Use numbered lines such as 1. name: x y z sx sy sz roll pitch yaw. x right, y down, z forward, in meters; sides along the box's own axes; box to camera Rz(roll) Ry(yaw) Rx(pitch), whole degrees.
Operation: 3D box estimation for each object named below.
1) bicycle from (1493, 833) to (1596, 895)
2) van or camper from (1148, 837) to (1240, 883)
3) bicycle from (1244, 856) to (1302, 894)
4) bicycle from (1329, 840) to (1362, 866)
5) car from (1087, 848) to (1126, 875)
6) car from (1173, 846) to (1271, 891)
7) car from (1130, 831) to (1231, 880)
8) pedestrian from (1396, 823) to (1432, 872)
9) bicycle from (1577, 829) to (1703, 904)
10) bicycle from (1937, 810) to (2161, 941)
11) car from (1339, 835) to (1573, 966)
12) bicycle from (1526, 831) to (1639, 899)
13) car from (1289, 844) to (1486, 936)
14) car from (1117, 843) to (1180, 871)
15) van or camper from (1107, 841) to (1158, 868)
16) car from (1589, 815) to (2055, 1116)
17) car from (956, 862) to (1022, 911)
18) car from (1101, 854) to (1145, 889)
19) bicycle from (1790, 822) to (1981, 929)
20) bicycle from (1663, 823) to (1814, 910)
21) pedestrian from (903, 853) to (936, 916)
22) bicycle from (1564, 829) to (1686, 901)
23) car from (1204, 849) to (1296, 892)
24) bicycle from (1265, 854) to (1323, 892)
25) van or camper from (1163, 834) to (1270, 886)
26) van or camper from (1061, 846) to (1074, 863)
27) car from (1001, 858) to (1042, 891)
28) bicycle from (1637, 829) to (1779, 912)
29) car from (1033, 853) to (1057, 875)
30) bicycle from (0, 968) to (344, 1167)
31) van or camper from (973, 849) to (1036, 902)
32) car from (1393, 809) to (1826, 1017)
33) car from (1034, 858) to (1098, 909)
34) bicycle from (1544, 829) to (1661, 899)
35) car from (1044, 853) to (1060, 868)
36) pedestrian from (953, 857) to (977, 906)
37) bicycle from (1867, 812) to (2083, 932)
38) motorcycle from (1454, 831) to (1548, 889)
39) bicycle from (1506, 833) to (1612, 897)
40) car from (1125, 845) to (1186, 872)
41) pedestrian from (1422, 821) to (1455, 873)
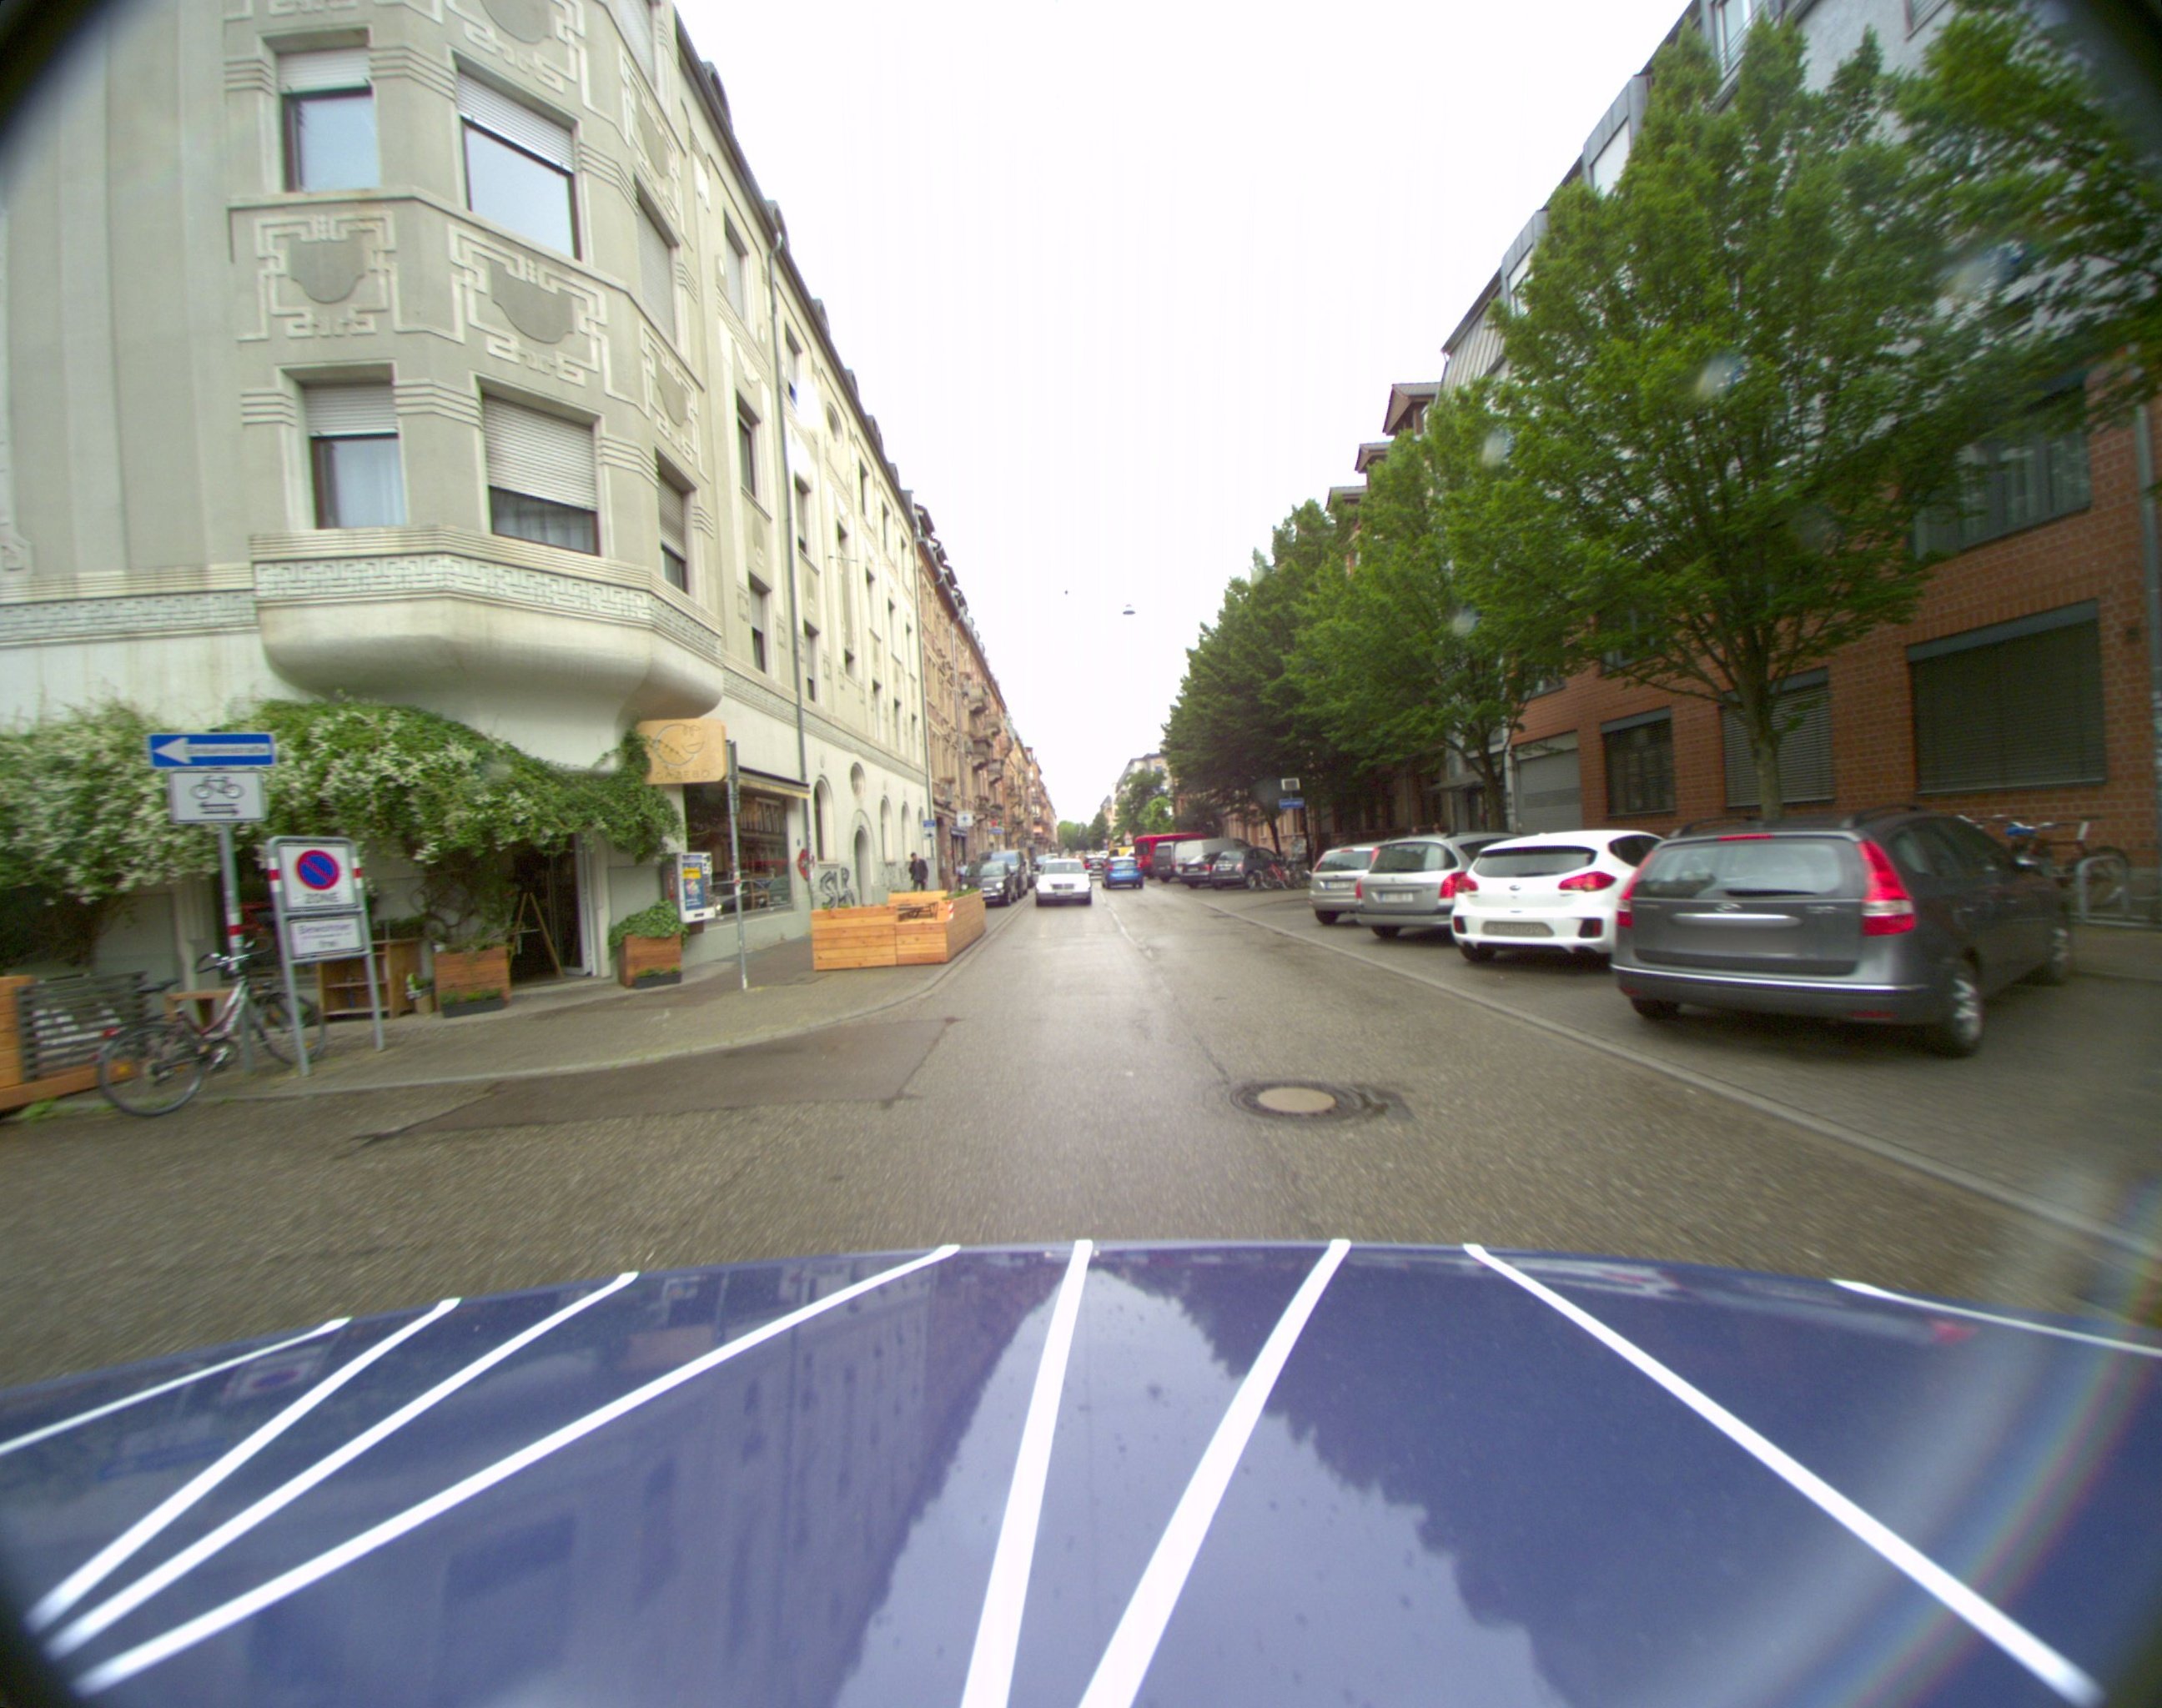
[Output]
1. bicycle: 10.496 0.222 17.232 1.901 1.145 0.553 -8 1 -3
2. van or camper: 5.775 0.280 38.705 4.454 1.964 1.777 -5 1 -33
3. bicycle: 6.328 0.703 25.149 0.751 1.151 2.218 -4 -1 -16
4. bicycle: 12.833 -0.044 36.984 0.669 1.186 2.412 -7 0 1
5. car: 1.730 0.448 49.655 1.672 1.550 4.007 -3 0 14
6. car: 5.831 0.581 31.217 3.985 1.438 1.763 -5 1 -40
7. car: 5.944 0.083 45.163 5.580 2.526 2.225 -4 0 -28
8. pedestrian: 10.714 -0.213 24.460 0.690 1.488 0.587 -7 1 -5
9. bicycle: 10.516 0.228 14.313 1.901 1.145 0.553 -8 1 -3
10. bicycle: 10.715 0.226 8.373 1.901 1.145 0.553 -8 1 -3
11. car: 5.733 0.601 11.535 3.392 1.644 1.630 -2 0 -33
12. bicycle: 10.464 0.223 15.878 1.901 1.145 0.553 -8 1 -3
13. car: 5.859 0.605 14.416 3.720 1.443 1.681 -2 0 -35
14. car: 6.045 0.252 67.648 5.258 2.066 1.866 -4 1 -25
15. van or camper: 5.328 0.064 78.854 4.733 2.254 2.180 -6 0 -33
16. car: 5.654 0.589 5.743 3.391 1.533 1.677 -4 1 -31
17. car: -2.966 1.030 25.194 1.714 1.392 3.704 -2 0 -1
18. car: 1.877 0.757 35.363 1.674 1.457 4.002 -3 0 -1
19. bicycle: 10.642 0.276 10.075 1.901 1.145 0.553 -8 1 -3
20. bicycle: 10.642 0.197 12.323 1.901 1.145 0.553 -8 1 -3
21. pedestrian: -5.212 0.974 24.536 0.827 1.940 0.415 -3 3 0
22. bicycle: 10.568 0.208 14.785 1.901 1.145 0.553 -8 1 -3
23. car: 6.375 0.598 28.529 3.487 1.427 1.647 -3 0 -43
24. bicycle: 7.084 0.648 25.376 0.784 1.151 2.144 -4 -1 -16
25. van or camper: 6.377 0.268 35.492 4.705 1.941 2.331 -5 0 -42
26. van or camper: -2.903 0.179 161.893 2.411 3.308 7.072 -4 0 -2
27. car: -3.075 1.042 39.855 1.846 1.536 4.002 -3 0 -1
28. bicycle: 10.671 0.267 12.950 1.901 1.145 0.553 -8 1 -3
29. car: -3.217 0.890 69.421 1.999 1.769 4.825 -3 0 -1
30. bicycle: -7.195 1.614 6.178 0.453 0.974 1.919 -4 3 -1
31. van or camper: -2.955 0.790 30.414 2.027 1.880 5.054 -2 0 -1
32. car: 6.282 0.491 9.003 4.529 1.531 2.333 -7 3 -28
33. car: -0.545 0.898 25.489 1.859 1.390 4.979 -3 0 -2
34. bicycle: 10.522 0.191 15.343 1.901 1.145 0.553 -8 1 -3
35. car: -3.817 0.825 99.970 1.999 1.927 5.228 -2 0 -3
36. pedestrian: -4.981 1.169 32.556 0.827 2.003 0.415 -3 3 0
37. bicycle: 10.661 0.204 9.084 1.901 1.145 0.553 -8 1 -3
38. motorcycle: 10.679 0.142 19.368 1.886 1.218 0.657 -8 0 3
39. bicycle: 10.485 0.242 16.702 1.901 1.145 0.553 -8 1 -3
40. car: 6.021 0.362 62.093 4.590 1.775 2.545 -6 0 -1
41. pedestrian: 11.470 -0.209 24.372 0.568 1.593 0.589 -7 1 -5
